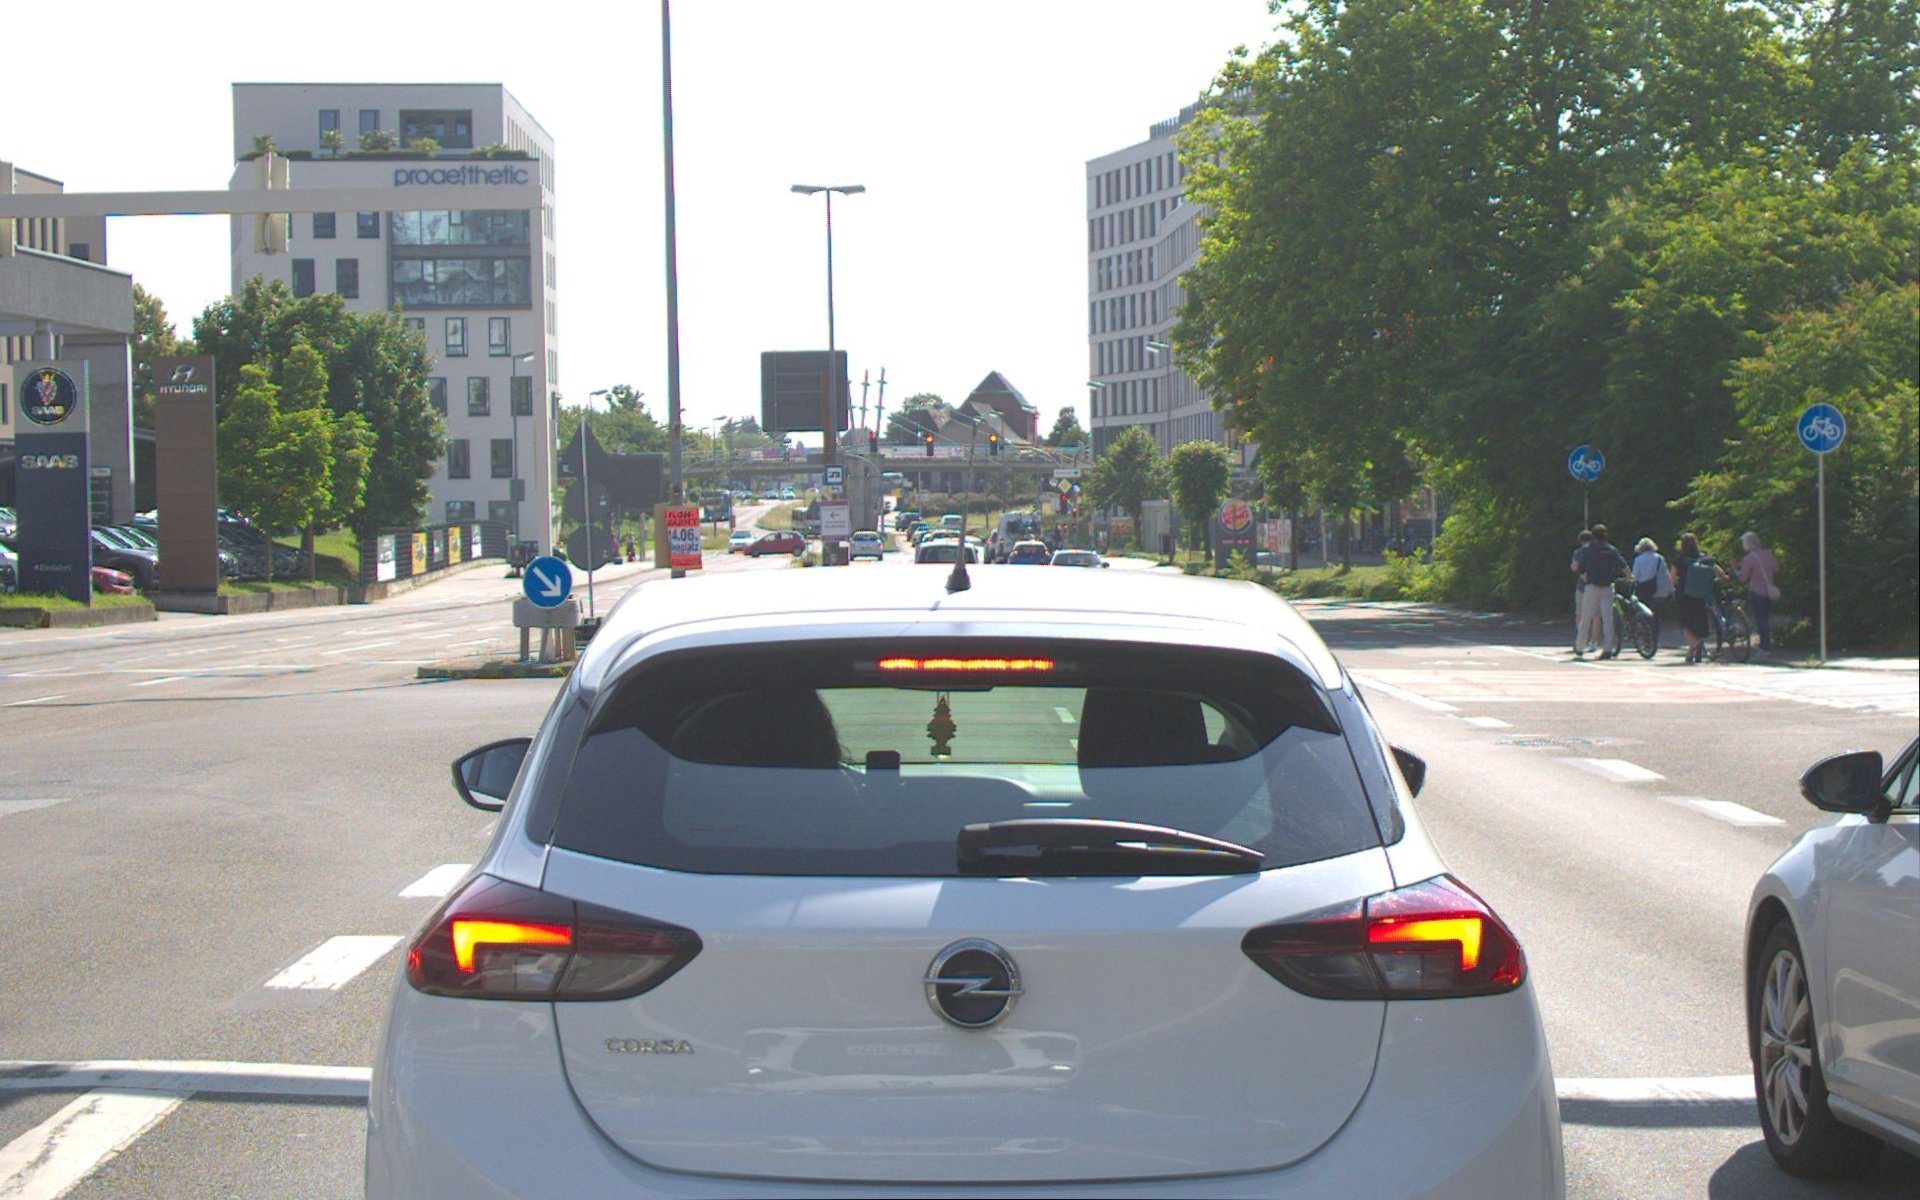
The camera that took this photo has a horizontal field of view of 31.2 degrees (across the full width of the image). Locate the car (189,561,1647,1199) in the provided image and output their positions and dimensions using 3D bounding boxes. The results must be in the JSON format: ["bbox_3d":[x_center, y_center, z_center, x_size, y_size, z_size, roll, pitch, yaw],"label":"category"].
[{"bbox_3d":[-0.073,0.696,6.220,1.779,1.489,4.000,-1,1,-1],"label":"car"}]

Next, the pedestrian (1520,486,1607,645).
[{"bbox_3d":[8.568,-0.494,48.864,1.027,2.231,1.039,-1,1,-1],"label":"pedestrian"}]

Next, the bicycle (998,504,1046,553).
[{"bbox_3d":[2.799,-3.237,155.421,1.993,2.150,4.000,-1,1,-1],"label":"bicycle"}]

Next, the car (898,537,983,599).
[{"bbox_3d":[-0.477,-0.745,79.626,1.806,1.381,4.000,1,0,-2],"label":"car"}]

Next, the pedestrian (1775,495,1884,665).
[{"bbox_3d":[10.475,-0.244,41.459,1.027,2.007,1.039,-1,1,-1],"label":"pedestrian"}]

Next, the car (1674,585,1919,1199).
[{"bbox_3d":[2.845,0.687,6.856,1.807,1.424,4.000,-1,0,-3],"label":"car"}]

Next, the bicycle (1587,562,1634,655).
[{"bbox_3d":[8.614,0.105,45.554,0.372,1.212,1.154,1,1,-1],"label":"bicycle"}]

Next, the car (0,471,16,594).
[{"bbox_3d":[-22.556,-1.411,73.020,4.357,2.592,2.000,-1,1,5],"label":"car"}]

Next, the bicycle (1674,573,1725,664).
[{"bbox_3d":[9.416,0.235,43.784,0.373,1.143,1.034,1,0,-3],"label":"bicycle"}]

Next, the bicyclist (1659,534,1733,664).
[{"bbox_3d":[9.379,-0.022,43.819,0.688,1.637,0.777,-1,1,-9],"label":"bicyclist"}]

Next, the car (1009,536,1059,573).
[{"bbox_3d":[2.859,-1.772,133.830,1.806,1.381,4.000,1,0,-1],"label":"car"}]

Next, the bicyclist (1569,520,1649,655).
[{"bbox_3d":[8.594,-0.171,45.562,0.879,1.766,0.864,-1,1,0],"label":"bicyclist"}]

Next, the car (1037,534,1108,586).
[{"bbox_3d":[3.132,-1.109,96.355,1.806,1.381,4.000,1,0,-1],"label":"car"}]
